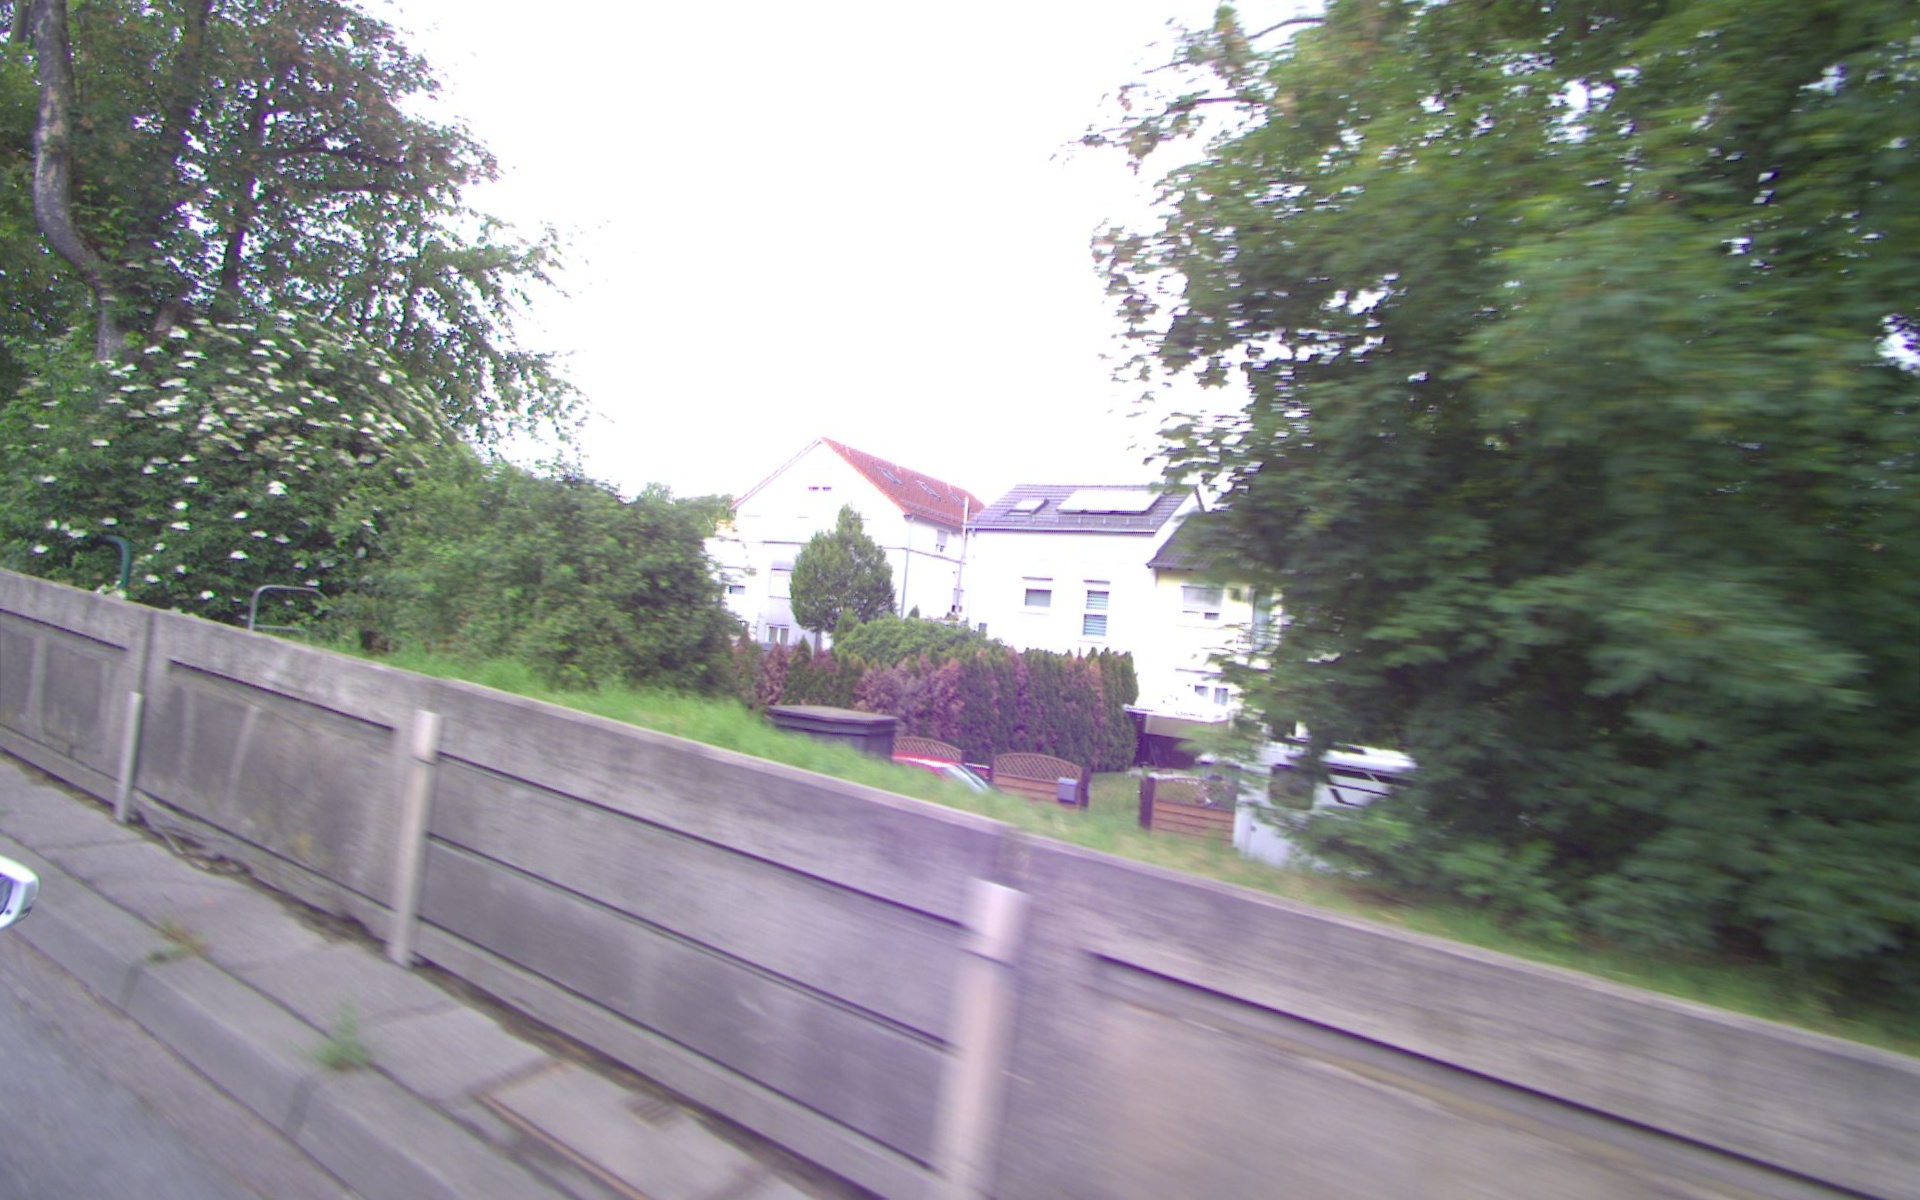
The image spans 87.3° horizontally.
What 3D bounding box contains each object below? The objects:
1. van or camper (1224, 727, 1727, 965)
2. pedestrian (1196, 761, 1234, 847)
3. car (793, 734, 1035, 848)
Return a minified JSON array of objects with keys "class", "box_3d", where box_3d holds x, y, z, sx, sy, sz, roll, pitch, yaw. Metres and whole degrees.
[{"class":"van or camper","box_3d":[6.888,3.220,14.188,5.734,2.035,2.187,6,-3,23]},{"class":"pedestrian","box_3d":[4.890,3.899,19.282,0.511,1.542,0.308,6,-3,24]},{"class":"car","box_3d":[-0.845,3.310,17.896,3.932,1.275,1.629,5,-4,29]}]
